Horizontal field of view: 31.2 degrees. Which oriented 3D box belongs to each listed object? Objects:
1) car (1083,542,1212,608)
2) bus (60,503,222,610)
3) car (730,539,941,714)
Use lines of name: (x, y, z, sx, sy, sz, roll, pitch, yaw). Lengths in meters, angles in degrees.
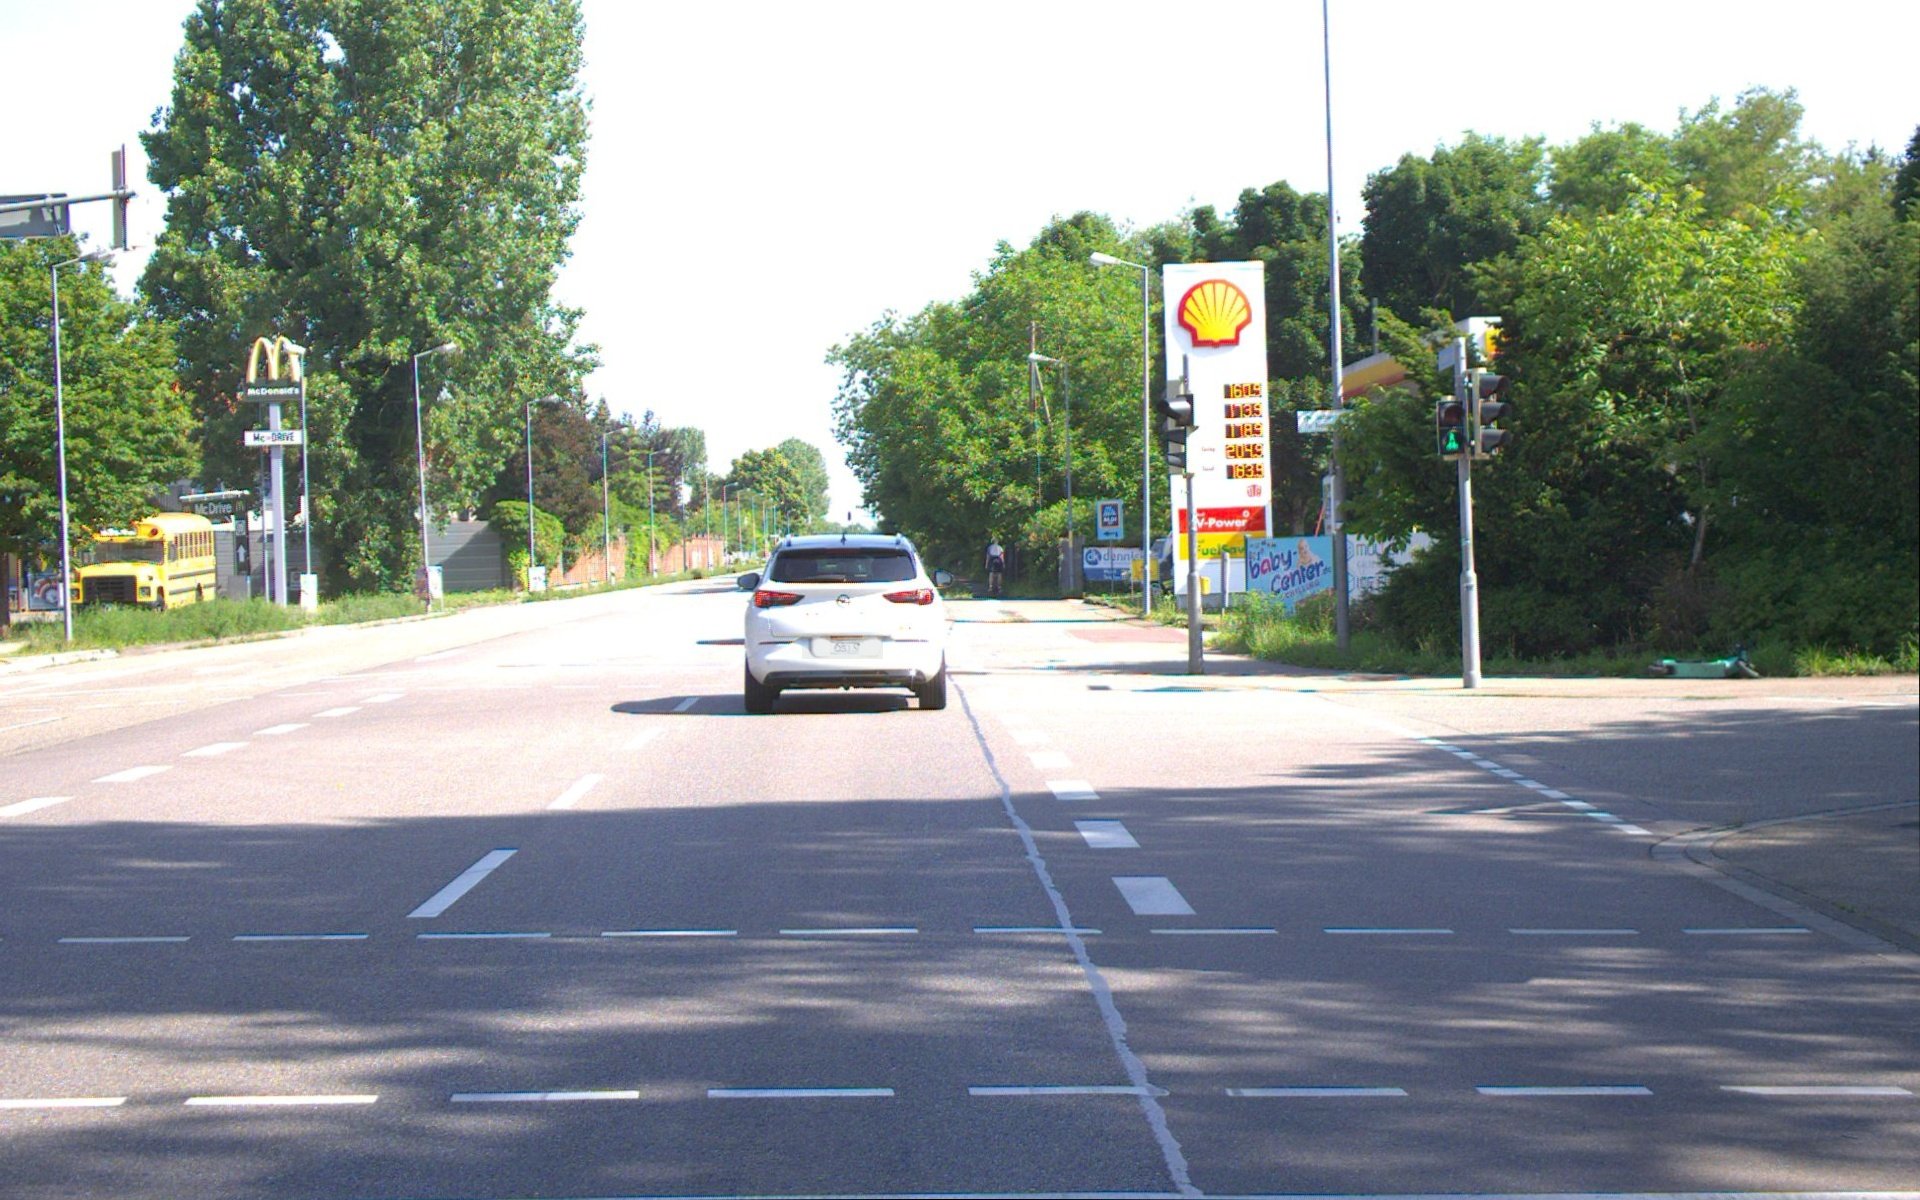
car: (4.493, -0.590, 82.572, 2.729, 1.525, 1.574, -1, -1, 43)
bus: (-21.532, -1.122, 90.848, 2.579, 2.670, 8.998, 0, 0, -3)
car: (-1.131, 0.218, 32.355, 1.847, 1.536, 4.225, 0, 0, -1)
